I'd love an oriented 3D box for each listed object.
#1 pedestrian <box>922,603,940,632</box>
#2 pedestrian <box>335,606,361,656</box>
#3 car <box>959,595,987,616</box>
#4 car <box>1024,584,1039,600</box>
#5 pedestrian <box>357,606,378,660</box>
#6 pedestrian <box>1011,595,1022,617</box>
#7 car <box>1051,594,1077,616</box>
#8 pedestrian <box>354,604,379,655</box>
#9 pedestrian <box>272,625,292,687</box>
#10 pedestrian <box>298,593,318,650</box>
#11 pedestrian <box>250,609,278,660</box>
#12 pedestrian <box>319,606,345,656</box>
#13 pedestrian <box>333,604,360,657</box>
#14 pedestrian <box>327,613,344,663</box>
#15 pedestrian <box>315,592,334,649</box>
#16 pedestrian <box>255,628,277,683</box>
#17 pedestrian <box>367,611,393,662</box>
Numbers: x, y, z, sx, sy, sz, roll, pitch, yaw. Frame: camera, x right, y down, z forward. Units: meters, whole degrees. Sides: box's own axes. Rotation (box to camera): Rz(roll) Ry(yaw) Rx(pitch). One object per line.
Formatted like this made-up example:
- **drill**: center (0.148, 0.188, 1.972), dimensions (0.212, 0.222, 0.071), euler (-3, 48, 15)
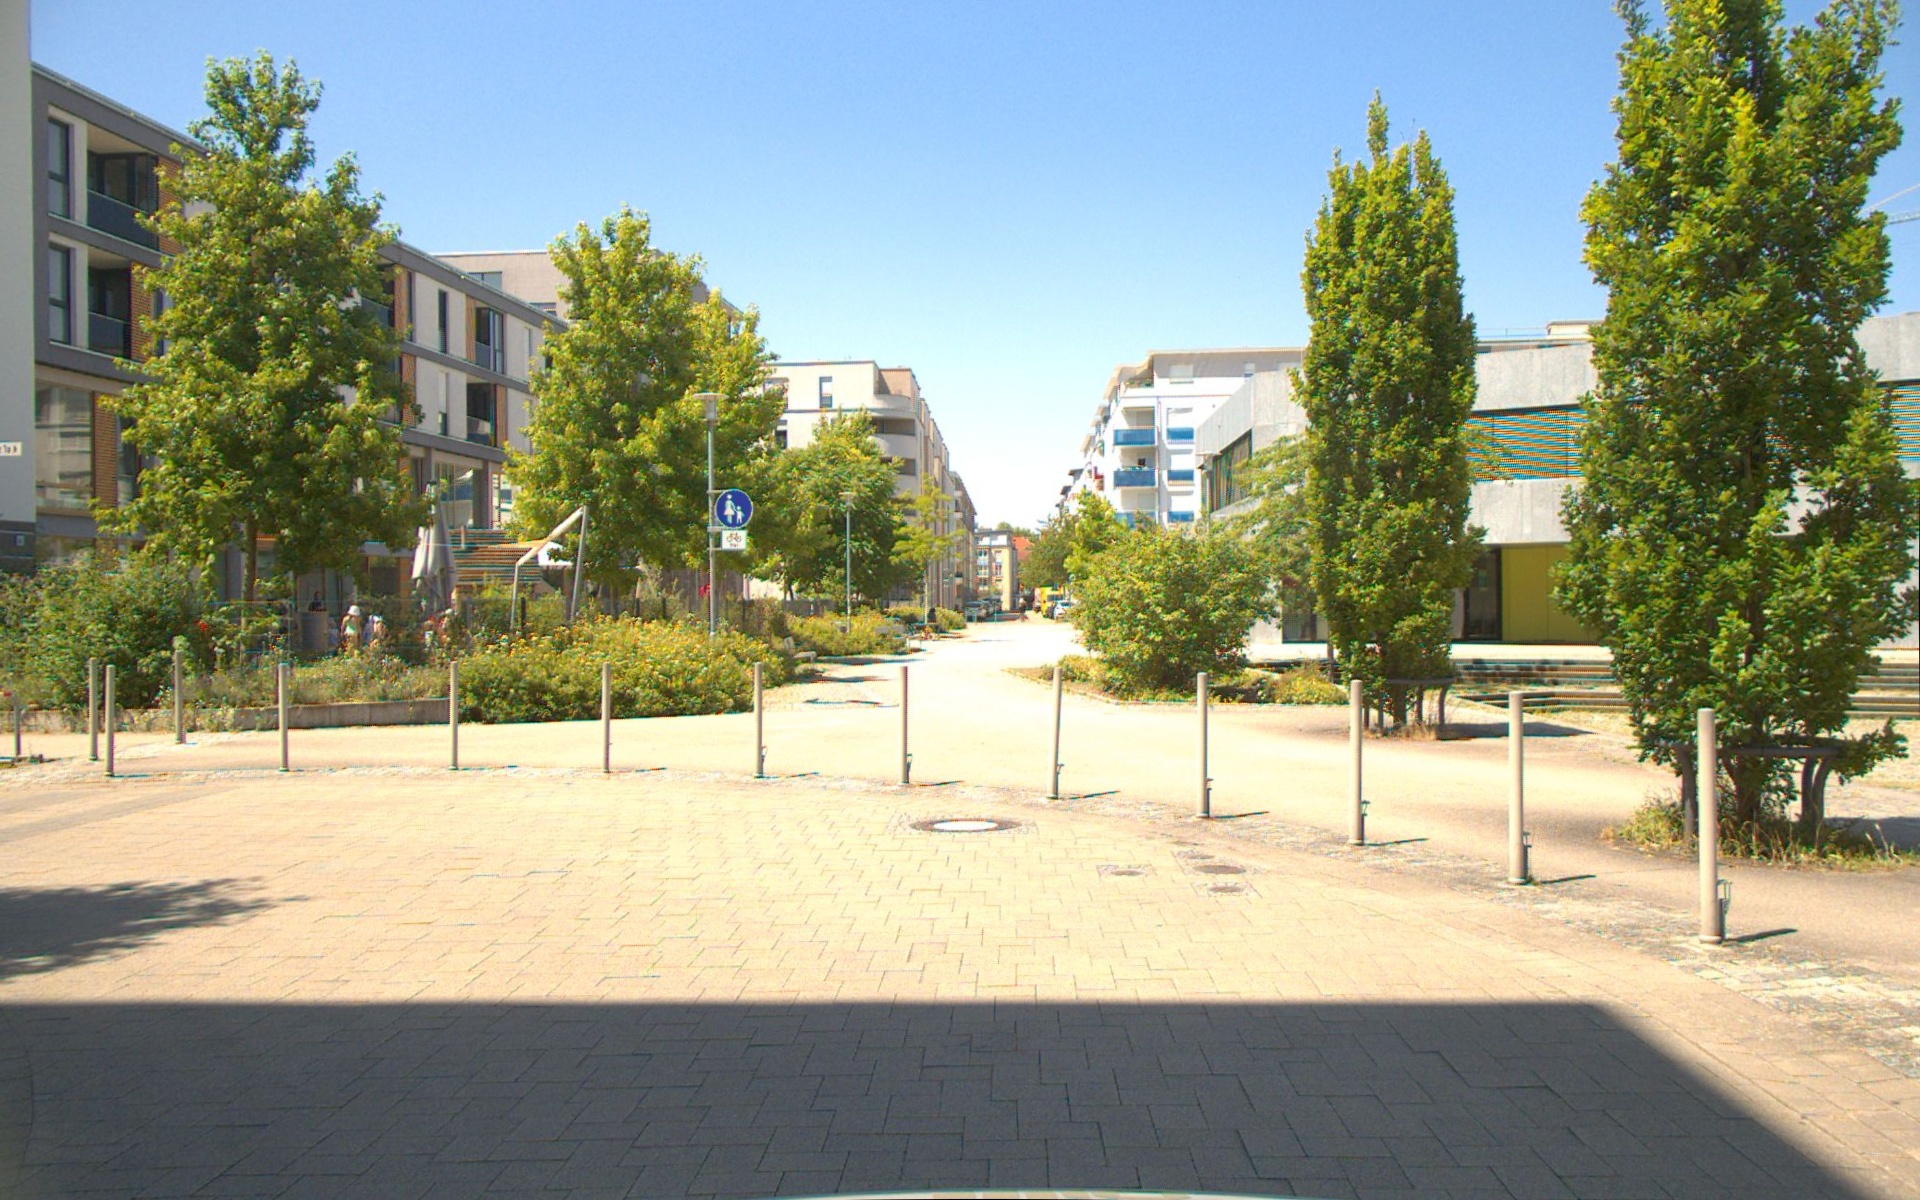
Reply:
- **pedestrian**: center (-1.383, 0.829, 78.909), dimensions (0.829, 1.372, 0.696), euler (0, 0, 2)
- **pedestrian**: center (-12.860, 0.646, 34.773), dimensions (0.308, 1.043, 0.410), euler (-2, -2, 38)
- **car**: center (1.099, 0.434, 135.760), dimensions (2.101, 1.681, 4.090), euler (0, 0, 3)
- **car**: center (9.637, -1.046, 222.241), dimensions (1.952, 2.049, 4.001), euler (0, 0, 2)
- **pedestrian**: center (-11.753, 0.653, 32.815), dimensions (0.280, 1.072, 0.290), euler (-1, -1, 24)
- **pedestrian**: center (4.068, 0.429, 119.054), dimensions (0.680, 1.556, 0.599), euler (-1, 0, 4)
- **car**: center (8.020, 0.372, 126.856), dimensions (1.951, 1.637, 4.002), euler (0, 0, 4)
- **pedestrian**: center (-12.368, 0.618, 34.485), dimensions (0.388, 1.044, 0.411), euler (0, -2, -5)
- **pedestrian**: center (-18.976, 1.574, 46.298), dimensions (0.387, 1.720, 0.462), euler (0, -1, -3)
- **pedestrian**: center (-17.594, 0.580, 44.625), dimensions (0.392, 1.534, 0.457), euler (0, -1, -35)
- **pedestrian**: center (-13.952, 0.694, 33.158), dimensions (0.409, 1.004, 0.364), euler (1, -2, -44)
- **pedestrian**: center (-13.012, 0.644, 34.267), dimensions (0.308, 1.043, 0.410), euler (-2, -2, 38)
- **pedestrian**: center (-12.066, 0.606, 32.527), dimensions (0.277, 1.043, 0.410), euler (-2, -2, 38)
- **pedestrian**: center (-13.452, 0.809, 35.635), dimensions (0.316, 1.072, 0.289), euler (0, -1, -17)
- **pedestrian**: center (-17.212, 0.559, 44.803), dimensions (0.392, 1.534, 0.457), euler (0, -1, -35)
- **pedestrian**: center (-19.663, 1.562, 46.869), dimensions (0.388, 1.534, 0.461), euler (-1, -1, 35)
- **pedestrian**: center (-11.425, 0.721, 32.565), dimensions (0.378, 0.988, 0.290), euler (-1, -1, 17)
